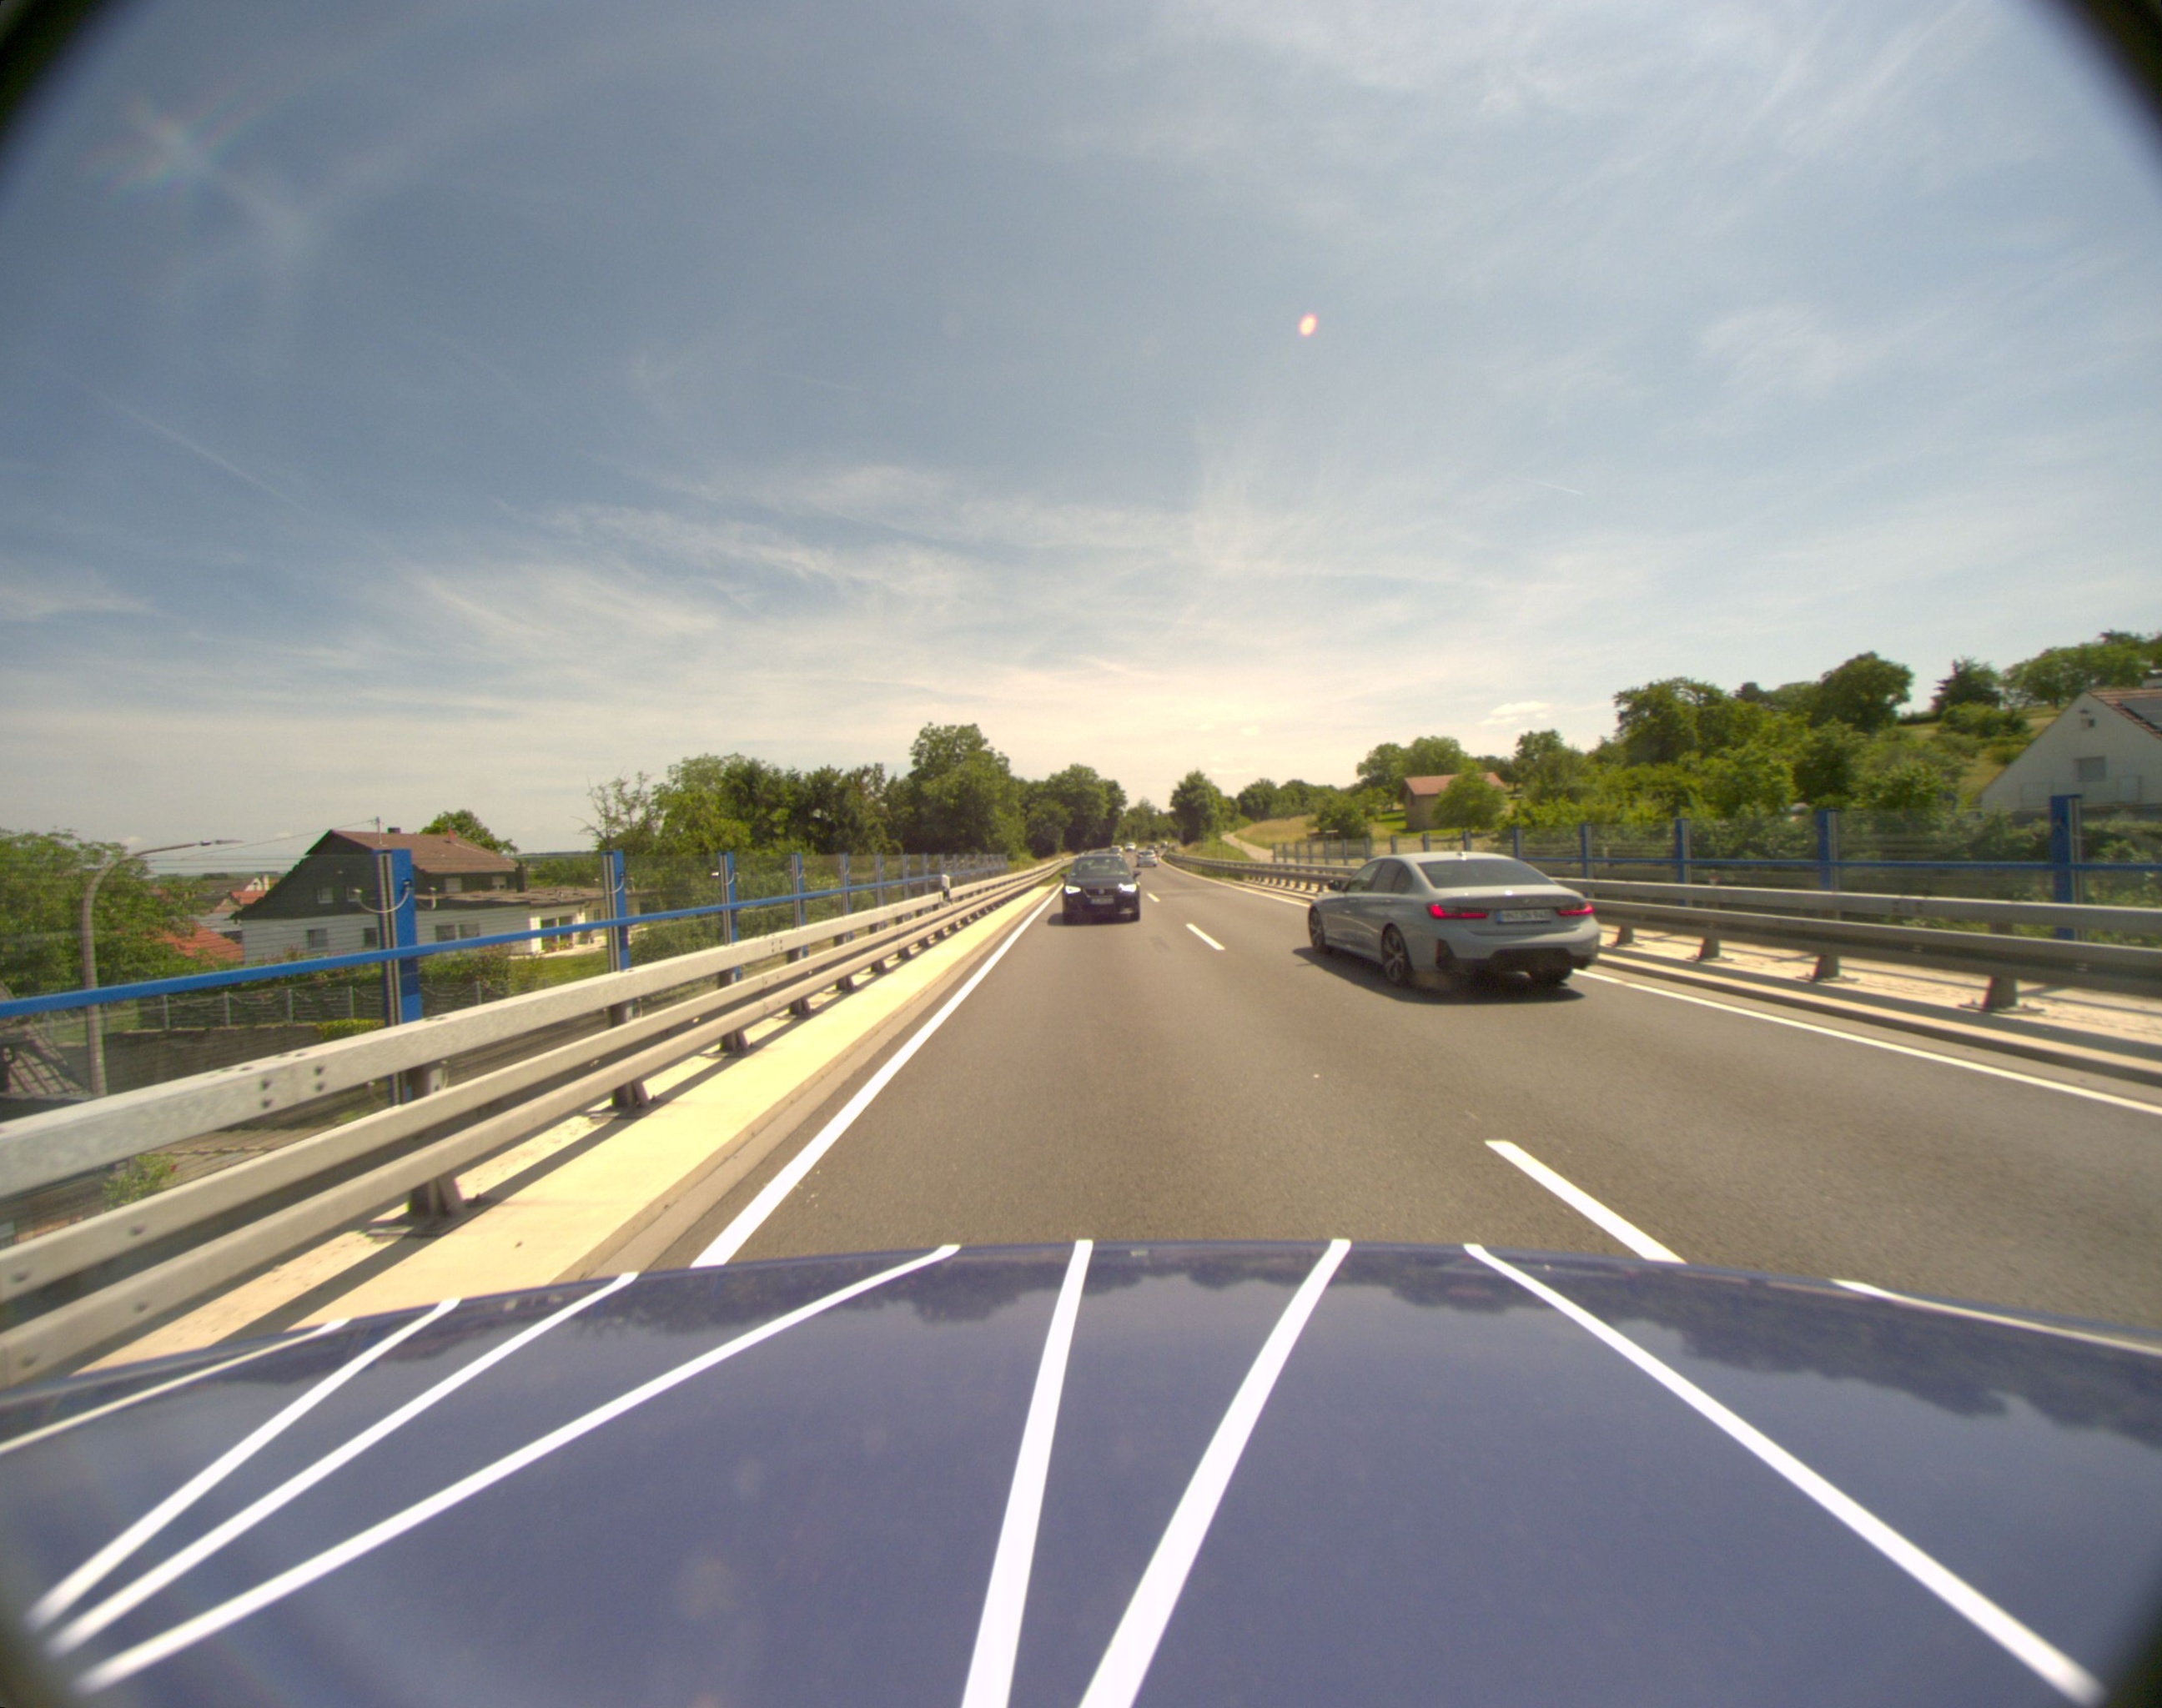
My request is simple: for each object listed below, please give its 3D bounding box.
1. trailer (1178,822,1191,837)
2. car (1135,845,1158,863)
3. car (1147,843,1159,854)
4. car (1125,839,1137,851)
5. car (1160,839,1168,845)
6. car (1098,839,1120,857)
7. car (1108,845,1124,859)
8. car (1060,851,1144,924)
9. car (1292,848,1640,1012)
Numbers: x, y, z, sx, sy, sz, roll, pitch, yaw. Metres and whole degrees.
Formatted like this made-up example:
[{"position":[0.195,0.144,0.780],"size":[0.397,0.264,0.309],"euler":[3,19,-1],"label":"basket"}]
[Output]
[{"position":[28.691,-6.789,211.072],"size":[2.449,4.161,14.024],"euler":[-1,2,12],"label":"trailer"},{"position":[5.733,-0.027,66.658],"size":[1.711,1.496,4.118],"euler":[-1,1,1],"label":"car"},{"position":[11.849,-0.939,125.575],"size":[1.810,1.580,4.380],"euler":[-1,1,4],"label":"car"},{"position":[9.291,-1.678,140.378],"size":[1.997,2.002,4.000],"euler":[-2,2,6],"label":"car"},{"position":[18.288,-2.661,167.508],"size":[1.649,1.432,4.161],"euler":[-1,1,9],"label":"car"},{"position":[2.819,-0.617,75.636],"size":[1.882,1.698,4.001],"euler":[-1,1,7],"label":"car"},{"position":[4.592,-0.295,99.574],"size":[1.883,1.698,4.001],"euler":[-1,1,5],"label":"car"},{"position":[0.480,0.697,18.126],"size":[1.737,1.467,3.999],"euler":[-1,1,1],"label":"car"},{"position":[4.153,0.671,9.282],"size":[1.785,1.427,4.834],"euler":[-2,1,0],"label":"car"}]
